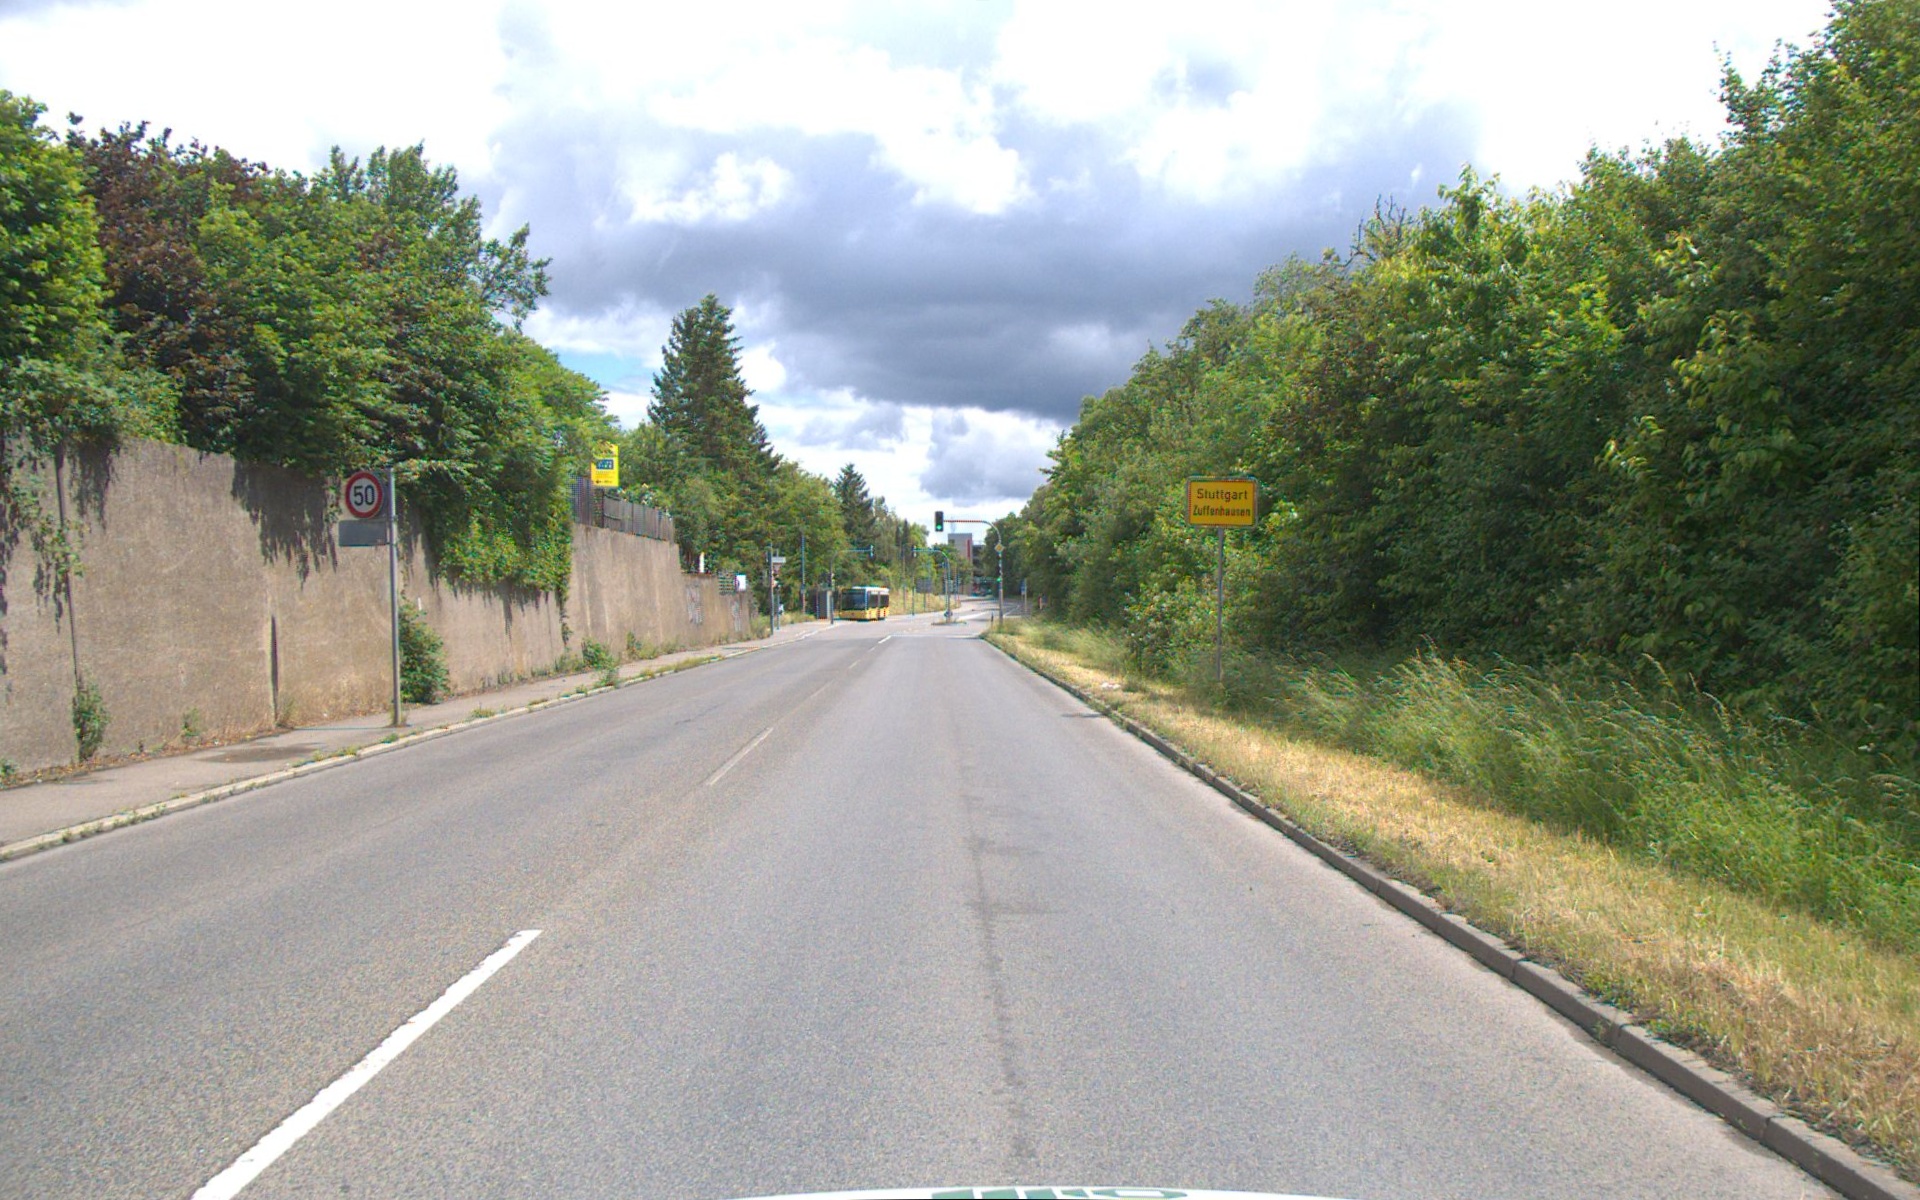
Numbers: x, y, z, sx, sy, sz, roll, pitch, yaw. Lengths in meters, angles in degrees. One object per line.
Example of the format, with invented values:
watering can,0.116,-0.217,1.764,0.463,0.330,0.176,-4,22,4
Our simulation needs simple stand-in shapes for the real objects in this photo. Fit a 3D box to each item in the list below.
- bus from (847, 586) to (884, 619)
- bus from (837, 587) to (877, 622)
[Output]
bus,-9.011,0.238,158.325,2.834,2.949,7.670,1,1,2
bus,-9.352,0.368,150.703,2.834,2.949,7.670,1,1,2
